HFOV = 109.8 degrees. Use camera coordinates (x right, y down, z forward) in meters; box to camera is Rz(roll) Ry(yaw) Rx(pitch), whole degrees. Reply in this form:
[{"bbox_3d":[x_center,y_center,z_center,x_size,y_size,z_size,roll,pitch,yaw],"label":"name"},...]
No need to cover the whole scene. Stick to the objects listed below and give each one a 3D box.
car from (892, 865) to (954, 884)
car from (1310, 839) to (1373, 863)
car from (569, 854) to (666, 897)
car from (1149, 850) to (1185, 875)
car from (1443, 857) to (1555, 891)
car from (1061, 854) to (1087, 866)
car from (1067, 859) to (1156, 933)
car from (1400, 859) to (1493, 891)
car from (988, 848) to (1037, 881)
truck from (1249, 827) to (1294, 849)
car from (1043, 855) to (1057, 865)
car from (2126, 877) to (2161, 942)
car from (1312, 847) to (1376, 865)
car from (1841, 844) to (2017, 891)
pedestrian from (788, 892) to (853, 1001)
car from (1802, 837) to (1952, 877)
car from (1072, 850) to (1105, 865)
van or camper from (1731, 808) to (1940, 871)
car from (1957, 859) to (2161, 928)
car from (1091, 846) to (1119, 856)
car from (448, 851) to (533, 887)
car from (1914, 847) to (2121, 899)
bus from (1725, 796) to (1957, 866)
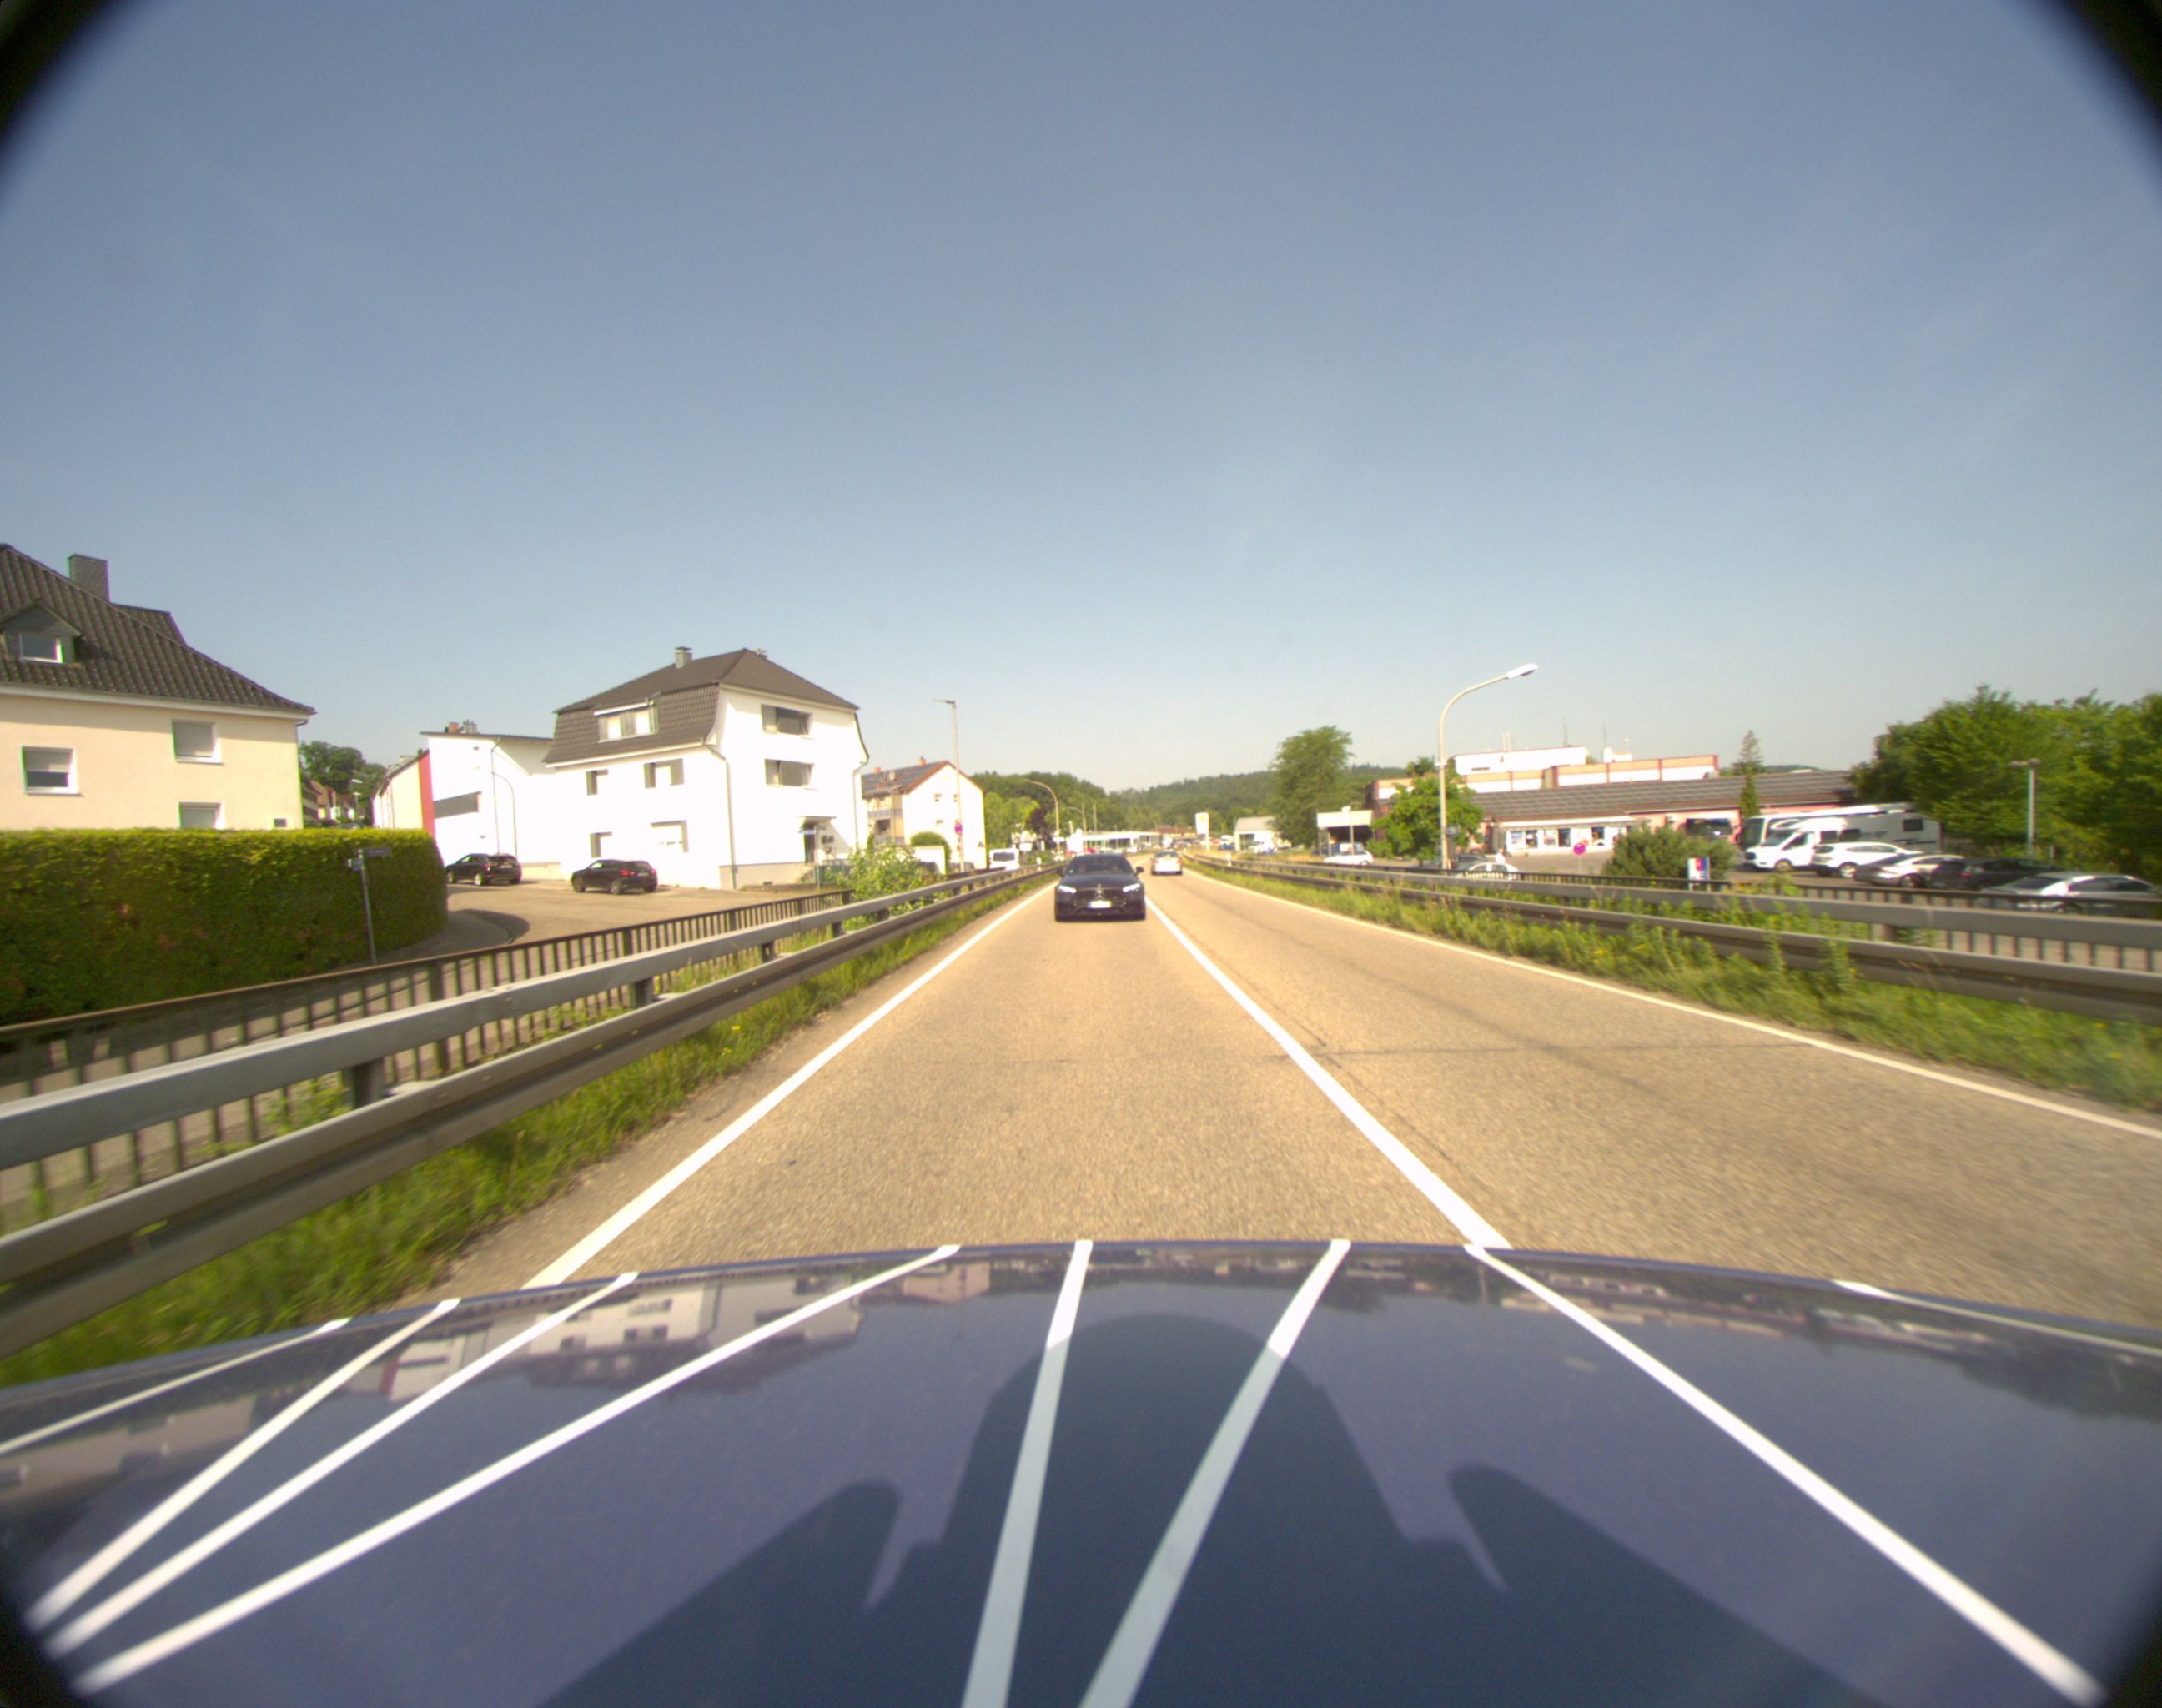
[{"bbox_3d":[-11.746,1.491,56.465,4.598,1.340,1.759,0,0,33],"label":"car"},{"bbox_3d":[23.100,-0.273,67.499,4.892,2.002,2.004,-2,0,37],"label":"car"},{"bbox_3d":[-21.246,0.937,34.851,3.989,1.655,2.003,1,5,29],"label":"car"},{"bbox_3d":[4.926,0.452,44.037,1.762,1.402,3.990,0,0,2],"label":"car"},{"bbox_3d":[20.002,0.935,36.491,4.308,1.496,1.875,-1,0,6],"label":"car"},{"bbox_3d":[-0.884,0.791,98.980,3.272,1.368,1.548,-4,1,-3],"label":"car"},{"bbox_3d":[0.577,0.865,17.468,1.716,1.382,4.145,-1,1,-2],"label":"car"},{"bbox_3d":[20.561,1.167,42.864,4.309,1.655,1.874,-1,0,3],"label":"car"},{"bbox_3d":[-4.275,0.641,48.454,1.997,1.933,5.364,-1,0,7],"label":"car"},{"bbox_3d":[33.049,-2.785,131.478,8.226,3.536,2.799,-3,0,-37],"label":"truck"},{"bbox_3d":[-4.999,0.963,123.324,1.710,1.397,3.658,-2,1,-11],"label":"car"},{"bbox_3d":[30.695,1.368,19.545,4.164,1.624,1.863,-5,2,17],"label":"car"},{"bbox_3d":[21.638,0.160,62.608,4.626,1.374,1.743,-2,0,2],"label":"car"},{"bbox_3d":[34.560,0.544,31.105,4.565,1.625,1.863,-3,3,13],"label":"car"},{"bbox_3d":[-5.049,1.768,14.797,0.789,2.002,0.997,-2,1,5],"label":"pedestrian"},{"bbox_3d":[37.335,0.154,35.750,4.565,1.624,1.863,-3,0,13],"label":"car"},{"bbox_3d":[1.001,0.506,101.856,4.245,1.563,1.917,-6,1,-3],"label":"car"},{"bbox_3d":[39.354,-0.714,39.921,7.406,2.826,2.749,-3,1,13],"label":"van or camper"},{"bbox_3d":[30.473,1.211,23.161,4.564,1.624,1.863,-5,2,20],"label":"car"},{"bbox_3d":[4.249,-0.576,133.790,4.323,1.630,2.143,-1,1,21],"label":"car"},{"bbox_3d":[-30.299,0.718,38.978,3.989,1.654,2.004,1,2,29],"label":"car"},{"bbox_3d":[34.296,0.691,27.996,4.564,1.625,1.863,-3,3,16],"label":"car"},{"bbox_3d":[42.523,-1.173,42.857,9.113,3.334,2.668,-3,-1,13],"label":"bus"}]
